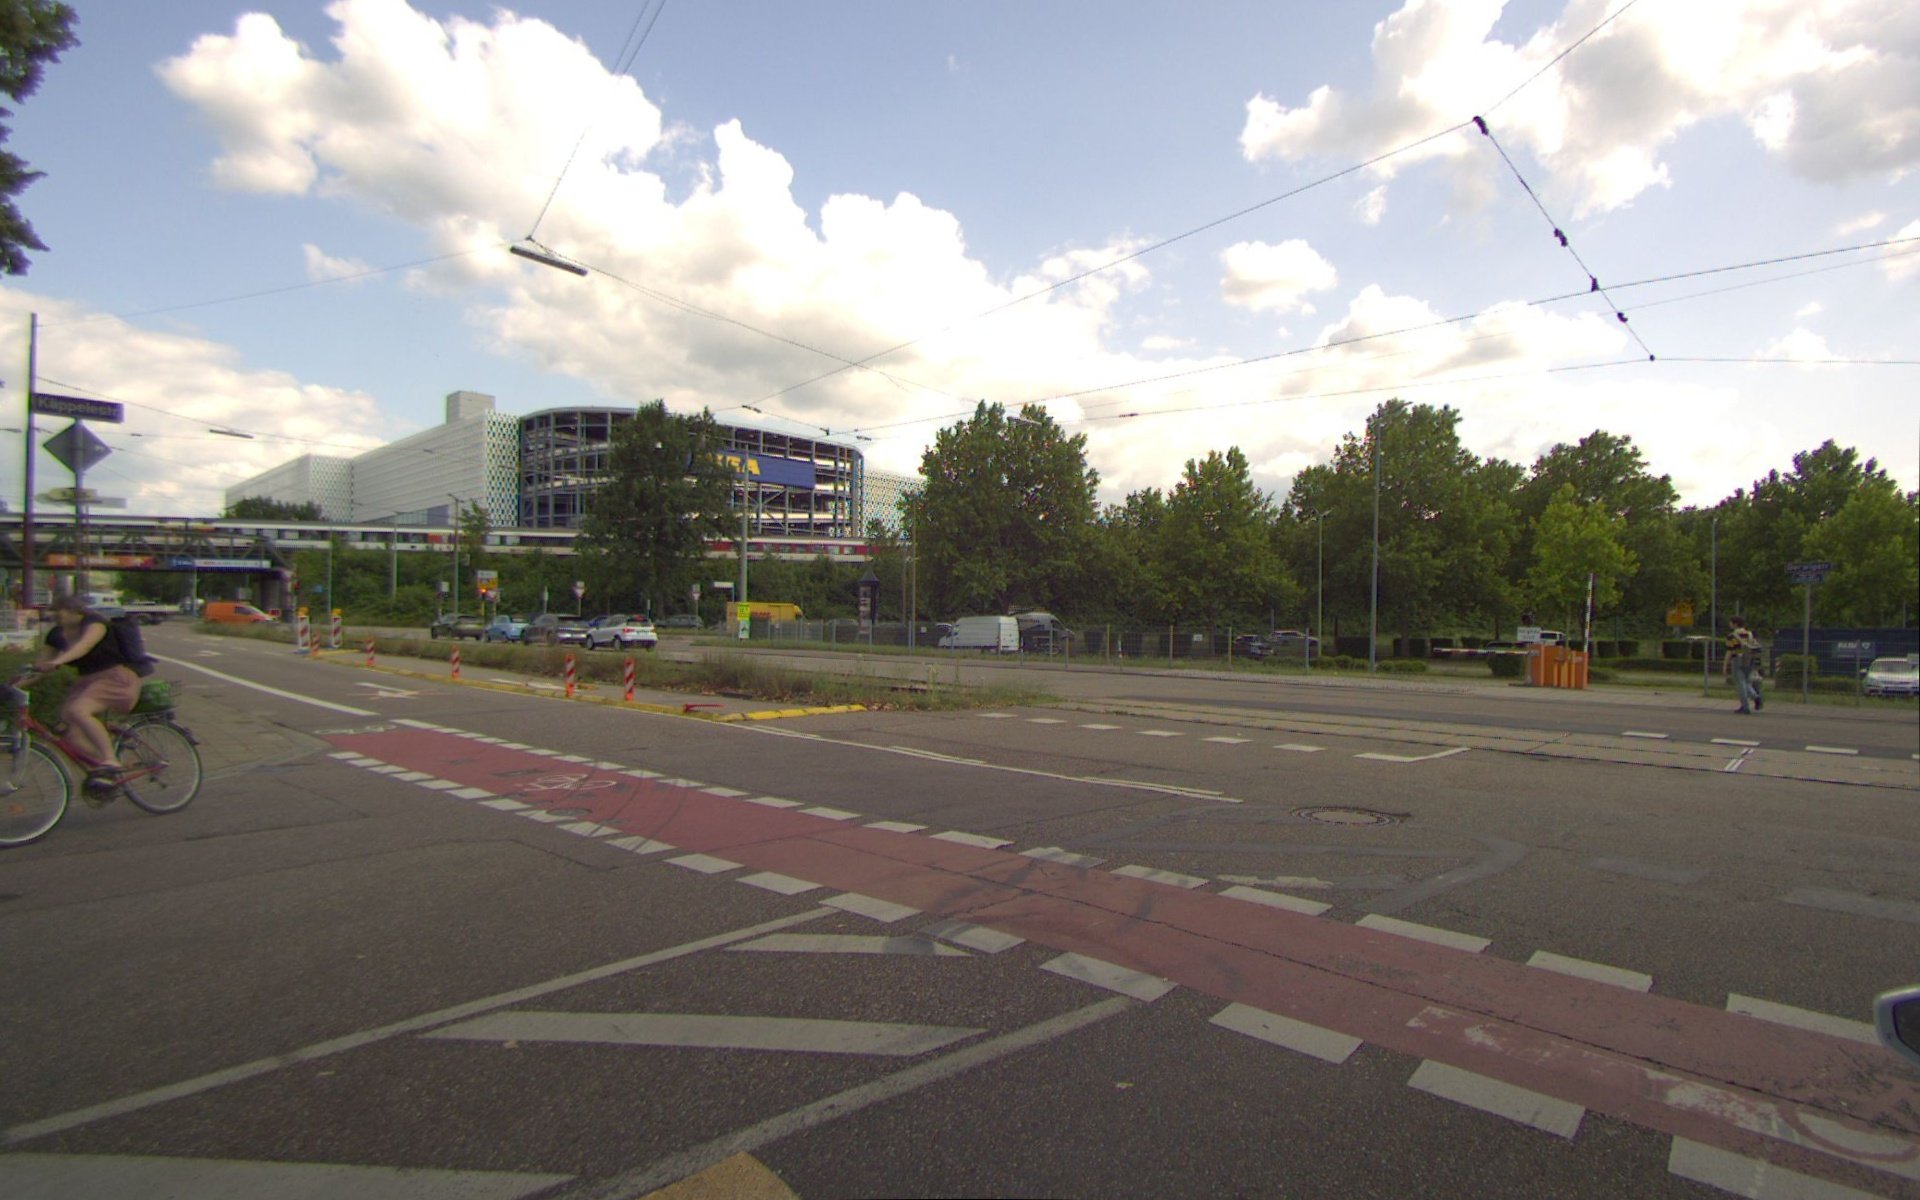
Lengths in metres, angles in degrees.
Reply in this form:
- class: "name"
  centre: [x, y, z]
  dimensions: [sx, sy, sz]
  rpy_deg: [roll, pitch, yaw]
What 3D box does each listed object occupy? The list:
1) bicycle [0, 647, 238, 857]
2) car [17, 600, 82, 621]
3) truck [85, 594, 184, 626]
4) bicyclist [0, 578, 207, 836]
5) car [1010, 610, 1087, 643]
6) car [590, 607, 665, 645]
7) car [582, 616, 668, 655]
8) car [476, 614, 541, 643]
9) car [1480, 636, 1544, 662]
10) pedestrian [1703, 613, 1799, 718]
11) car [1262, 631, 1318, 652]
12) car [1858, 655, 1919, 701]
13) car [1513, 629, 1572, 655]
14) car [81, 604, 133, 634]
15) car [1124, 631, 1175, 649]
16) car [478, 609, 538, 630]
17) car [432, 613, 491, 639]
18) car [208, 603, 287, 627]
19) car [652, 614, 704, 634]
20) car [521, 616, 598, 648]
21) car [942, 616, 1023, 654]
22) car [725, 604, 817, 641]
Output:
- class: "bicycle"
  centre: [-6.015, 0.954, 6.911]
  dimensions: [0.715, 1.181, 1.816]
  rpy_deg: [-1, -1, 2]
- class: "car"
  centre: [-83.595, 0.965, 92.276]
  dimensions: [3.927, 1.808, 1.889]
  rpy_deg: [1, -1, -9]
- class: "truck"
  centre: [-65.349, 0.804, 79.584]
  dimensions: [5.641, 2.319, 2.027]
  rpy_deg: [1, -1, -16]
- class: "bicyclist"
  centre: [-6.013, 0.700, 7.017]
  dimensions: [0.719, 1.670, 1.010]
  rpy_deg: [-1, 0, 2]
- class: "car"
  centre: [7.108, 2.122, 80.998]
  dimensions: [5.805, 2.475, 2.207]
  rpy_deg: [1, -1, -12]
- class: "car"
  centre: [-17.056, 1.315, 51.466]
  dimensions: [1.956, 1.839, 4.218]
  rpy_deg: [1, -1, -45]
- class: "car"
  centre: [-14.912, 1.535, 44.595]
  dimensions: [4.175, 1.600, 1.913]
  rpy_deg: [0, -1, 43]
- class: "car"
  centre: [-24.244, 1.506, 53.872]
  dimensions: [3.974, 1.424, 1.787]
  rpy_deg: [0, -1, 43]
- class: "car"
  centre: [39.939, 3.540, 72.735]
  dimensions: [1.877, 1.724, 3.990]
  rpy_deg: [1, -1, -13]
- class: "pedestrian"
  centre: [14.873, 1.205, 18.936]
  dimensions: [0.983, 1.874, 1.230]
  rpy_deg: [1, -1, 14]
- class: "car"
  centre: [28.753, 3.597, 87.538]
  dimensions: [4.186, 1.706, 1.997]
  rpy_deg: [1, -1, -10]
- class: "car"
  centre: [32.733, 2.670, 34.982]
  dimensions: [4.054, 1.421, 1.912]
  rpy_deg: [2, -2, -44]
- class: "car"
  centre: [51.653, 3.704, 89.064]
  dimensions: [4.491, 2.164, 1.856]
  rpy_deg: [1, -1, -14]
- class: "car"
  centre: [-46.610, 1.030, 54.862]
  dimensions: [1.858, 1.505, 3.947]
  rpy_deg: [2, -1, -44]
- class: "car"
  centre: [16.691, 3.519, 88.547]
  dimensions: [3.930, 1.532, 1.916]
  rpy_deg: [1, -1, -12]
- class: "car"
  centre: [-35.635, 1.515, 79.274]
  dimensions: [3.927, 1.577, 1.872]
  rpy_deg: [1, -1, -9]
- class: "car"
  centre: [-28.699, 1.471, 57.792]
  dimensions: [3.974, 1.424, 1.787]
  rpy_deg: [0, -1, 43]
- class: "car"
  centre: [-49.803, 1.045, 70.248]
  dimensions: [4.064, 1.632, 1.795]
  rpy_deg: [1, -1, -10]
- class: "car"
  centre: [-23.392, 1.986, 83.439]
  dimensions: [3.927, 1.577, 1.872]
  rpy_deg: [1, -1, -9]
- class: "car"
  centre: [-19.597, 1.529, 49.033]
  dimensions: [4.175, 1.424, 1.913]
  rpy_deg: [0, -1, 43]
- class: "car"
  centre: [1.364, 2.155, 63.229]
  dimensions: [5.227, 2.240, 1.788]
  rpy_deg: [0, -2, 42]
- class: "car"
  centre: [-13.798, 1.664, 73.593]
  dimensions: [6.346, 2.612, 2.183]
  rpy_deg: [2, -2, -37]
